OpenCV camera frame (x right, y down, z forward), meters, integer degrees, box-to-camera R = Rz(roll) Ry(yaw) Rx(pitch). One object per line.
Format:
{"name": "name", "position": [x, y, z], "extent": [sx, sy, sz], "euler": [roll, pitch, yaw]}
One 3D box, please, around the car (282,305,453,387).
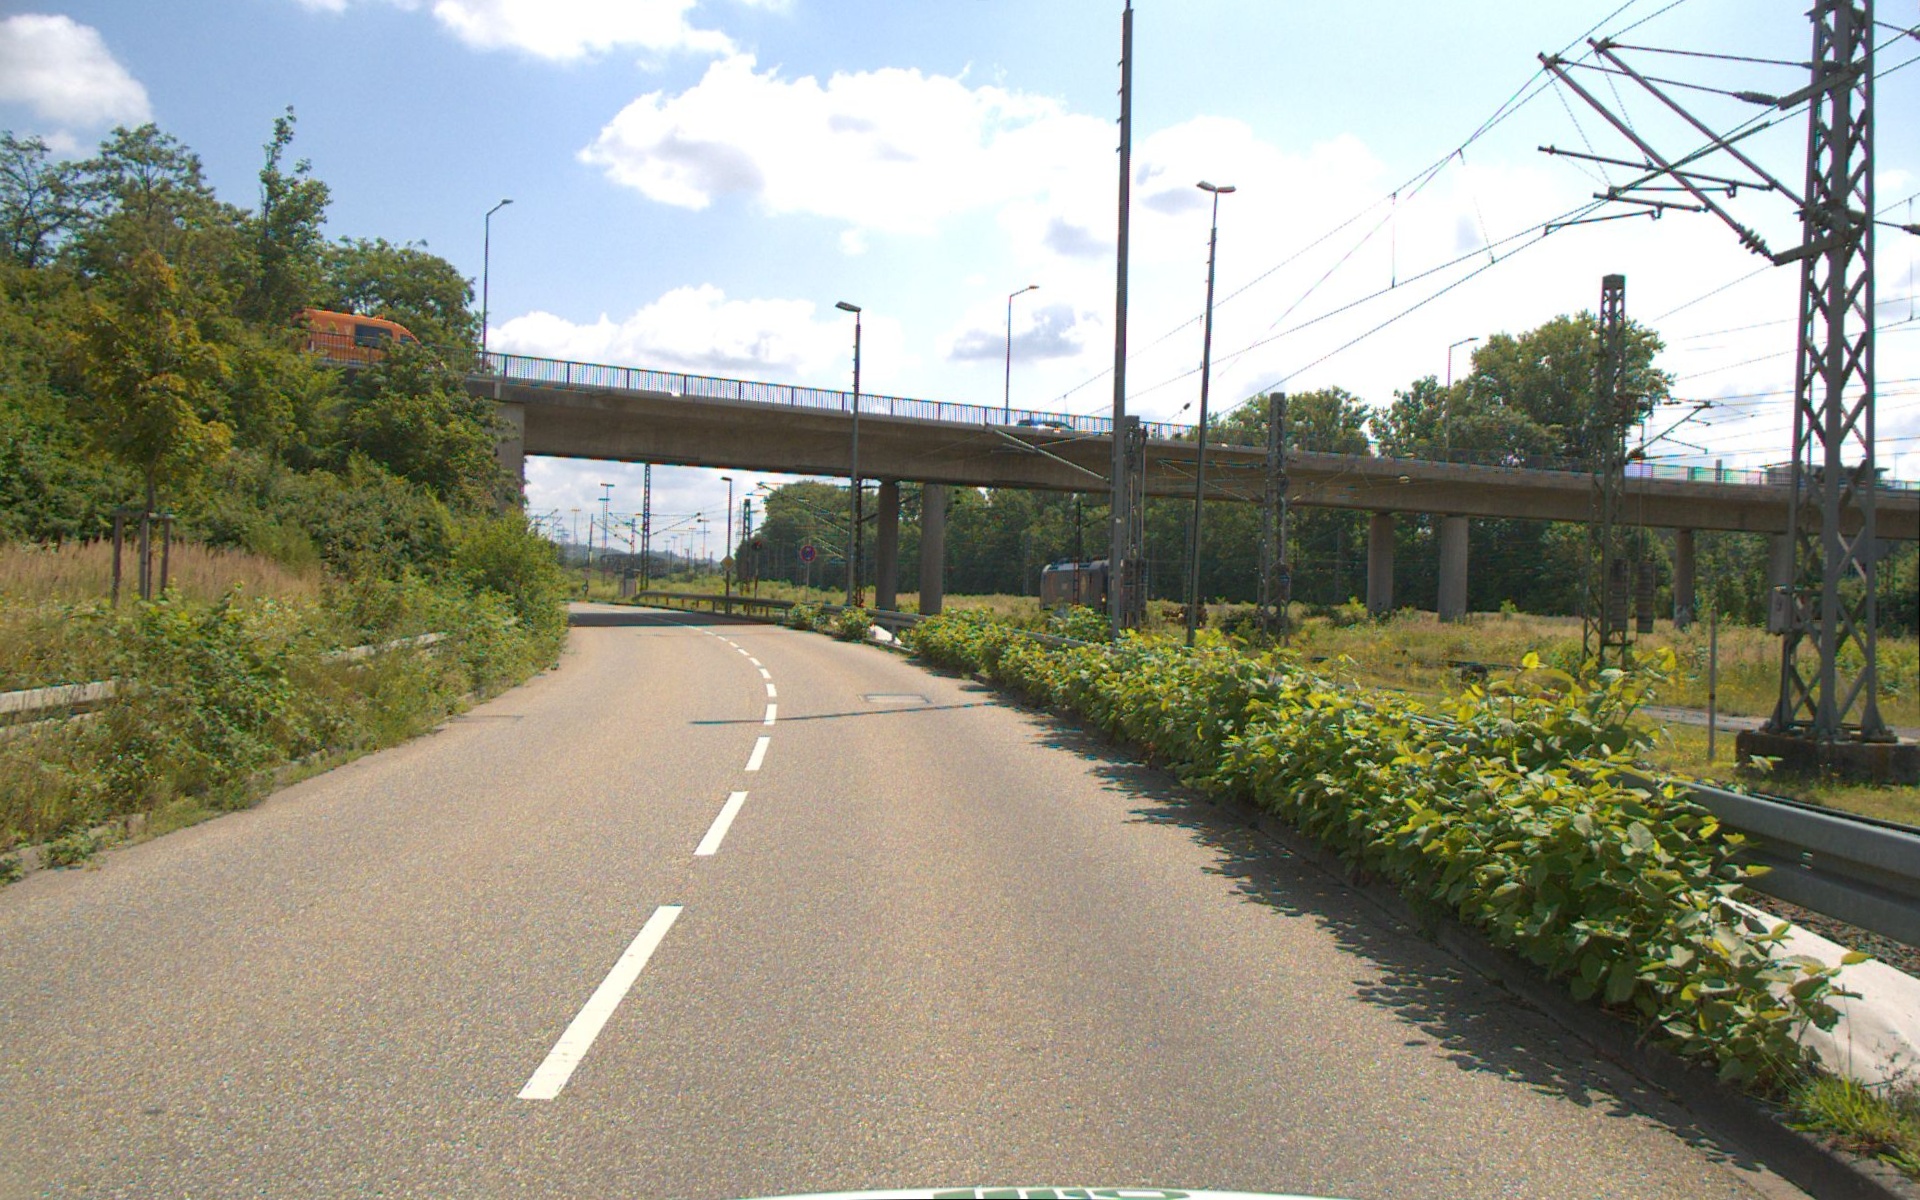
{"name": "car", "position": [-20.609, -8.794, 57.698], "extent": [5.297, 2.049, 1.967], "euler": [0, -1, -45]}

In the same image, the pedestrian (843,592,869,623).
{"name": "pedestrian", "position": [-5.281, 0.384, 83.784], "extent": [1.091, 1.567, 1.574], "euler": [1, 0, -12]}

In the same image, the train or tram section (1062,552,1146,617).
{"name": "train or tram section", "position": [8.285, -0.873, 96.224], "extent": [2.837, 3.570, 8.546], "euler": [1, 0, -9]}

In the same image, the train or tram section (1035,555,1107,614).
{"name": "train or tram section", "position": [6.956, -0.940, 104.568], "extent": [2.705, 3.538, 8.221], "euler": [1, 0, -9]}
